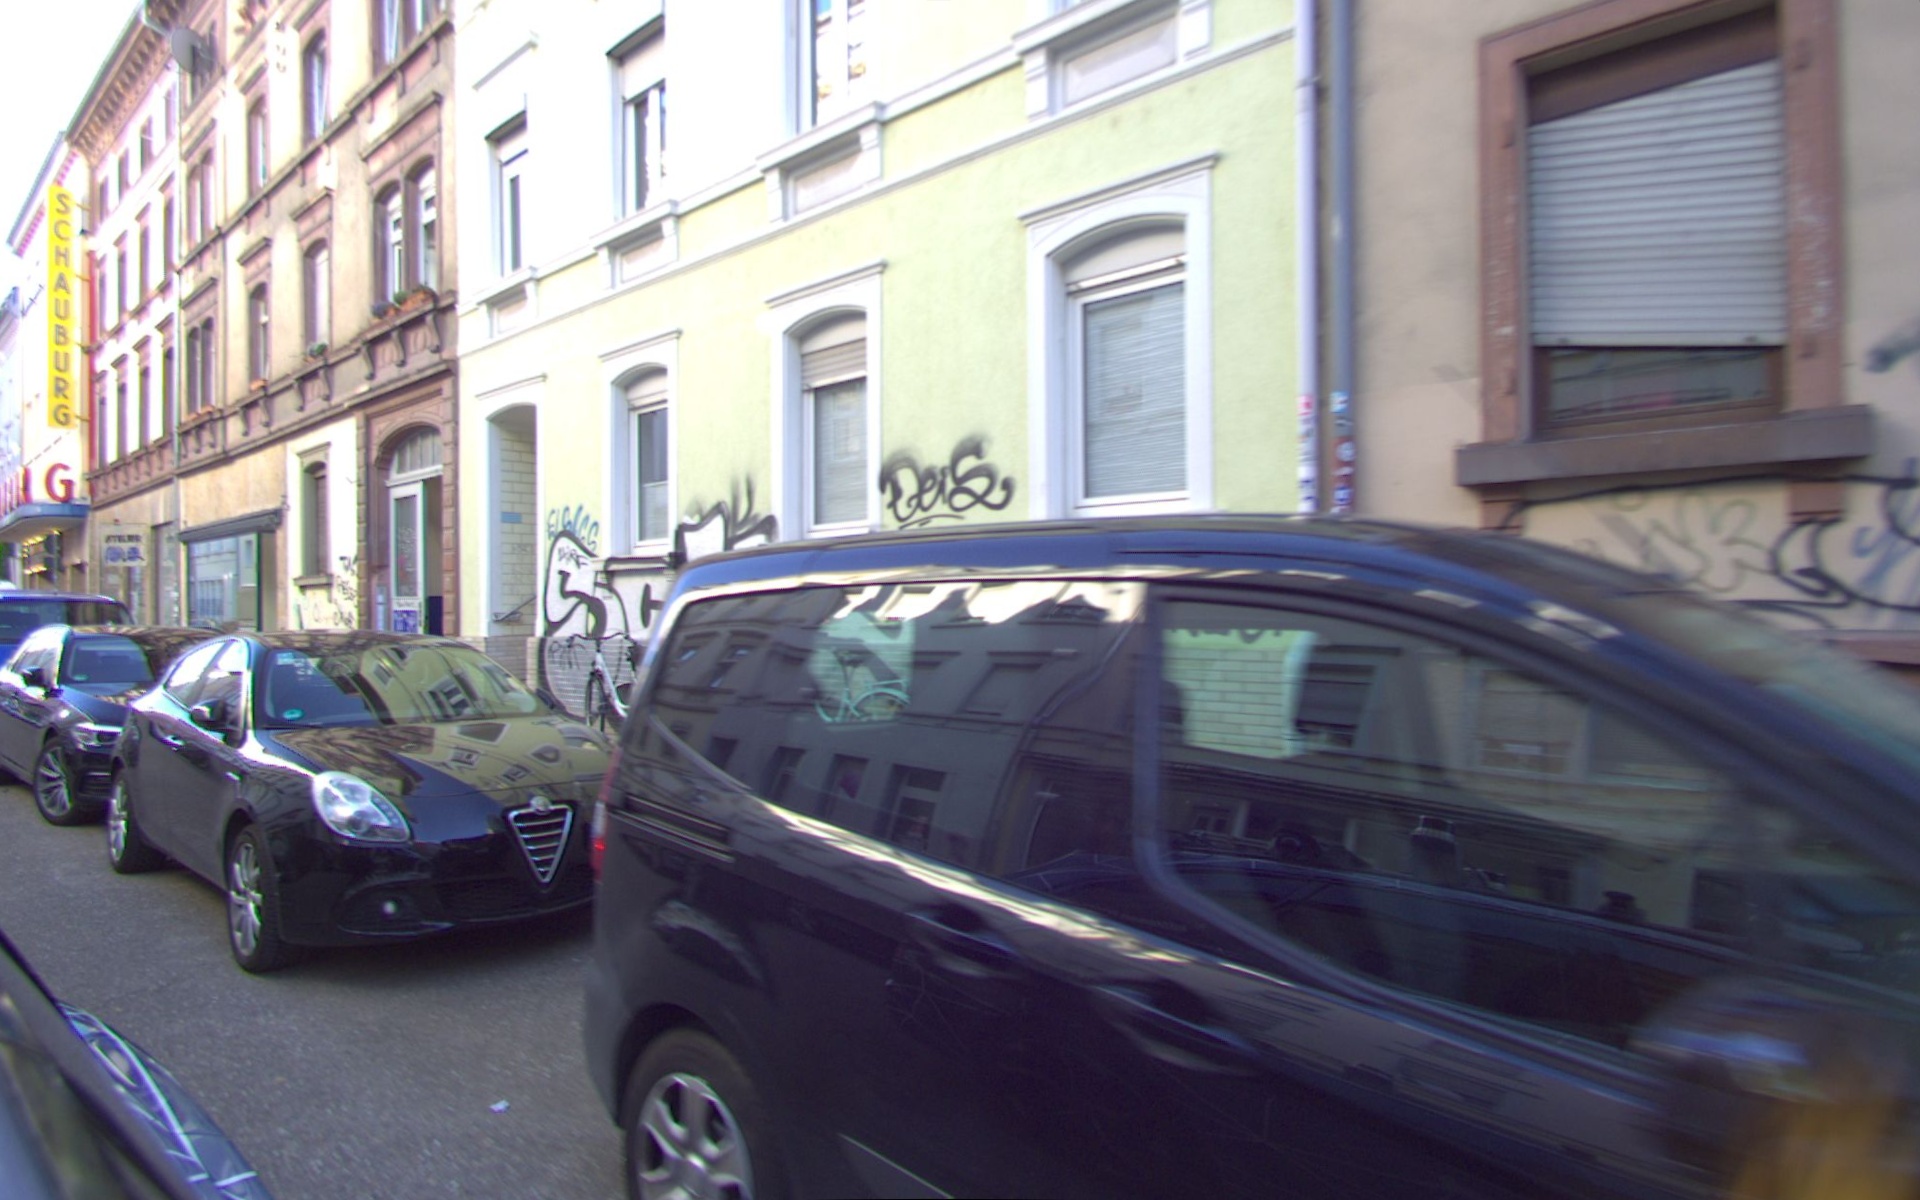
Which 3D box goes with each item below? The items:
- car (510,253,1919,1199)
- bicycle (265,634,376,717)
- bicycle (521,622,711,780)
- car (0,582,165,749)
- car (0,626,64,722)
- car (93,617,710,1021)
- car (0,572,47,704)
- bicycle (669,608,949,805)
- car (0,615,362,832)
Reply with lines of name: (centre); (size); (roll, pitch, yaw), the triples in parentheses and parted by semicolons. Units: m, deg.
car: (0.982, 0.591, 1.941); (3.997, 1.711, 1.782); (-1, -3, 40)
bicycle: (-9.102, 1.037, 14.372); (2.028, 1.028, 0.747); (-2, 2, 42)
bicycle: (-3.171, 0.850, 9.206); (2.085, 1.281, 0.666); (-2, -1, 41)
car: (-12.357, 0.823, 13.534); (4.611, 1.906, 1.808); (-2, -4, 41)
car: (-16.161, 1.162, 16.565); (3.835, 1.458, 1.629); (-1, -2, 39)
car: (-3.284, 0.833, 5.598); (3.998, 1.438, 1.719); (-2, -2, 41)
car: (-20.564, 0.753, 20.516); (5.916, 2.471, 2.146); (-2, -3, 39)
bicycle: (-1.201, 0.723, 7.612); (2.325, 1.255, 0.660); (-2, 2, 40)
car: (-7.247, 0.903, 8.975); (4.639, 1.451, 1.844); (-2, -2, 39)
